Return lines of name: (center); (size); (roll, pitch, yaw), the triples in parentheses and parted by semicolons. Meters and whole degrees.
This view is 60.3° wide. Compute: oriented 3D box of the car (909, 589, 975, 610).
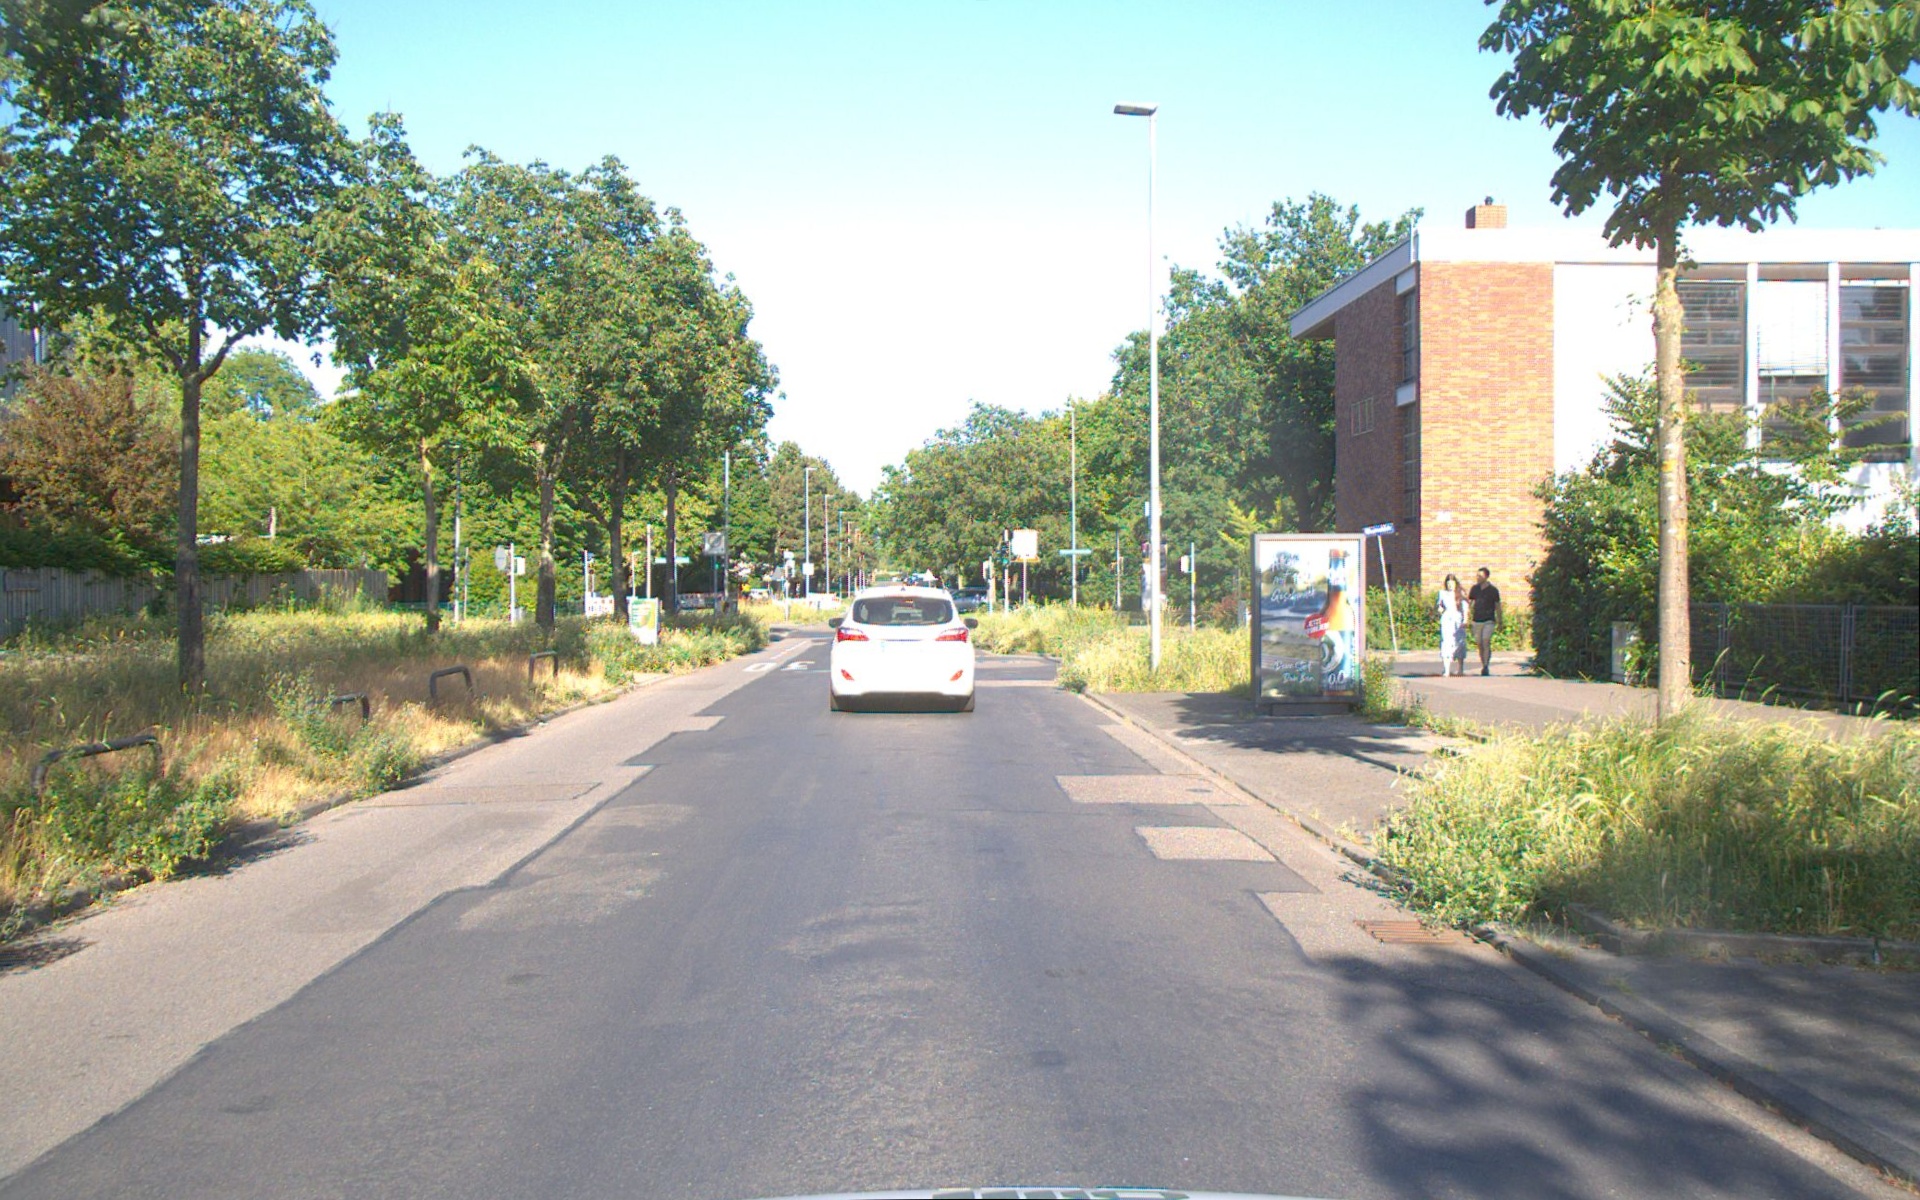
car: (-1.521, -0.014, 140.340); (5.501, 1.713, 1.947); (1, 0, -3)

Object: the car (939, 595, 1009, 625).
car: (0.862, 0.617, 105.198); (4.406, 1.814, 1.855); (0, 0, 0)

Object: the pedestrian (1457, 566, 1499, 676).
pedestrian: (8.421, 0.331, 26.897); (0.593, 1.763, 0.640); (1, 0, 14)

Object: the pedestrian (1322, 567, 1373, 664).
pedestrian: (7.537, 0.291, 32.195); (0.880, 1.853, 0.737); (1, 0, 8)

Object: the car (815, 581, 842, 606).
car: (-10.212, -0.495, 128.782); (1.953, 1.847, 3.999); (1, 1, -2)

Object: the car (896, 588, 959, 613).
car: (-2.253, 0.035, 116.985); (4.406, 1.658, 1.855); (0, 0, 0)

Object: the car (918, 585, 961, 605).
car: (-1.852, -0.472, 147.114); (3.742, 1.713, 1.862); (1, 0, -3)

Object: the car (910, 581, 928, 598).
car: (-4.536, -1.149, 182.292); (1.953, 1.847, 3.998); (1, 0, -2)

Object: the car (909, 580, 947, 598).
car: (-3.554, -1.253, 184.418); (4.215, 1.941, 1.862); (1, 0, -3)

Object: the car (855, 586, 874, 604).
car: (-10.181, -0.548, 177.143); (1.953, 1.847, 3.999); (0, 1, -2)

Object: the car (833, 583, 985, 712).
car: (-0.667, 0.528, 21.128); (1.753, 1.489, 3.961); (0, 0, -2)

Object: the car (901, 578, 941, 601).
car: (-3.680, -1.002, 157.077); (3.742, 2.135, 1.862); (1, 0, -3)

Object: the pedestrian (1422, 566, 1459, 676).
pedestrian: (7.853, 0.336, 27.037); (0.542, 1.763, 0.662); (1, 0, 14)

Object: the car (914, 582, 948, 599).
car: (-3.205, -1.082, 181.282); (3.742, 1.798, 1.862); (1, 0, -3)

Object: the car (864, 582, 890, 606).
car: (-6.591, -0.493, 132.406); (1.953, 1.847, 3.998); (2, 0, -2)
